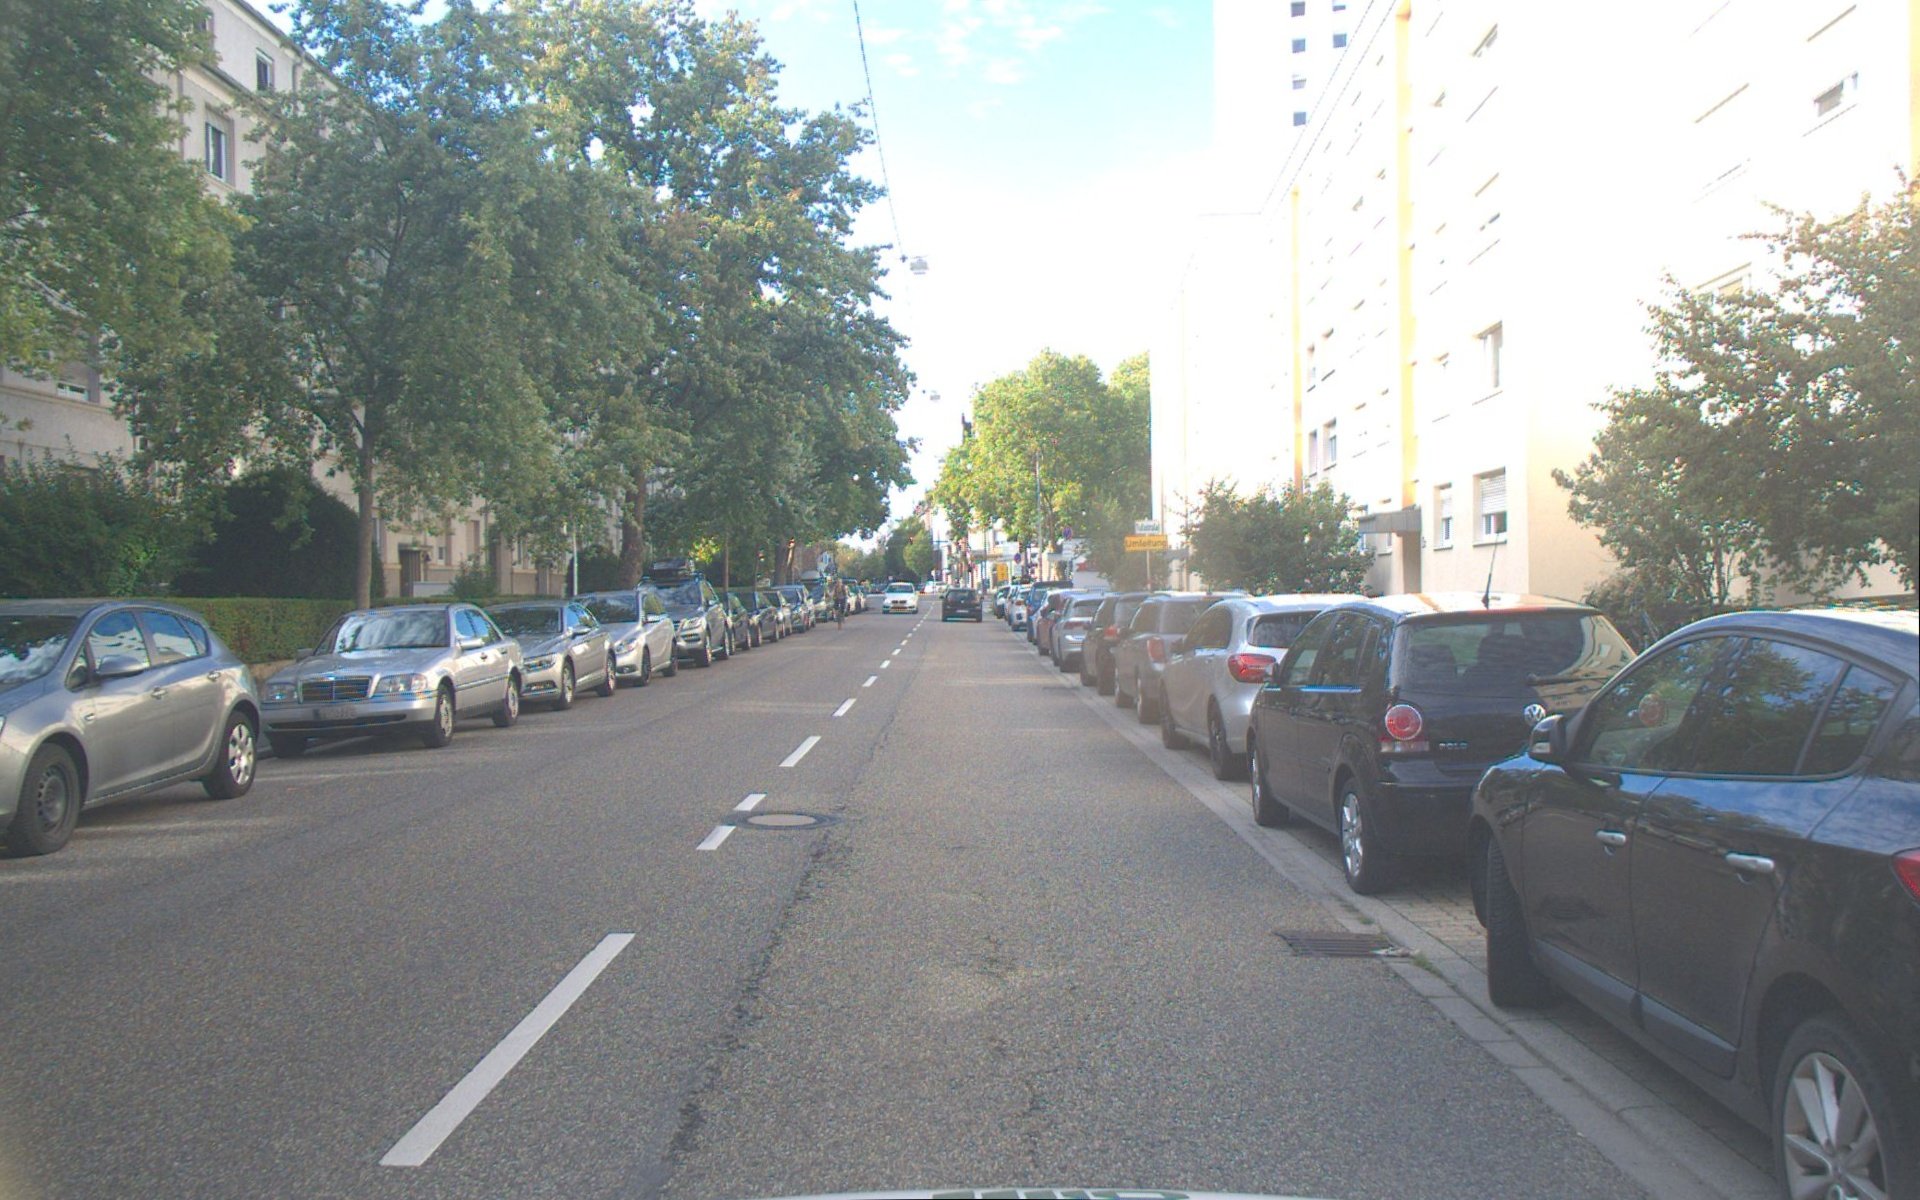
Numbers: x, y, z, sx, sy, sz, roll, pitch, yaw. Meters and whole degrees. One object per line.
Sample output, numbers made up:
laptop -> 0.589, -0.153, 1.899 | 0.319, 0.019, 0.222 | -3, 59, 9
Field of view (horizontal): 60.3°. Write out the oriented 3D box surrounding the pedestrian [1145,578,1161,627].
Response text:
pedestrian -> 6.921, 0.096, 59.228 | 0.530, 1.751, 0.772 | 0, 0, 5

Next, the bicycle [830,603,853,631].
bicycle -> -4.022, 0.575, 56.188 | 0.629, 0.940, 1.858 | 0, 0, 0

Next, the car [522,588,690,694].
car -> -5.948, 0.631, 28.328 | 1.817, 1.600, 4.460 | -2, 0, 1

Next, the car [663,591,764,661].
car -> -5.976, 0.588, 40.500 | 1.650, 1.506, 4.120 | -4, 0, 2

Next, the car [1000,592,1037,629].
car -> 2.563, 0.444, 73.197 | 1.519, 1.584, 3.468 | 0, 0, 0

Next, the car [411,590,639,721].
car -> -5.926, 0.676, 23.176 | 1.818, 1.512, 4.944 | -4, 0, 0

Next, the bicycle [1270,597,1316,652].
bicycle -> 8.353, 0.583, 41.586 | 0.591, 1.313, 2.635 | -2, 0, 0

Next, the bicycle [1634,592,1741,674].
bicycle -> 9.951, 0.435, 22.709 | 0.491, 1.048, 2.069 | -3, 0, 0

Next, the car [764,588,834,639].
car -> -5.301, 0.427, 54.891 | 1.581, 1.493, 4.015 | -4, 0, 4

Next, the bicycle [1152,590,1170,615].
bicycle -> 9.589, 0.109, 79.014 | 0.585, 1.134, 2.209 | -2, 0, 0

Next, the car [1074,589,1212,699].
car -> 2.759, 0.624, 25.677 | 1.628, 1.517, 3.941 | -2, 0, 0

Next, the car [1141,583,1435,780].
car -> 2.789, 0.621, 14.969 | 1.666, 1.489, 4.178 | -2, 0, -2

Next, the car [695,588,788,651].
car -> -5.880, 0.494, 44.944 | 1.650, 1.506, 4.453 | -4, 0, 3

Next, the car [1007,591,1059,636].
car -> 2.535, 0.451, 58.336 | 1.693, 1.514, 4.642 | 0, 0, 1

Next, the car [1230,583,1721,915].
car -> 2.753, 0.690, 9.755 | 1.649, 1.527, 3.873 | -1, 0, 0

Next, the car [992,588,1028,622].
car -> 2.411, 0.208, 78.846 | 1.654, 1.555, 4.239 | 0, 0, 2

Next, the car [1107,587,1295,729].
car -> 2.848, 0.625, 20.386 | 1.649, 1.511, 4.293 | -1, 0, 0

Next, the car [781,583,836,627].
car -> -6.274, 0.172, 68.973 | 1.762, 1.697, 4.483 | -3, 1, 1

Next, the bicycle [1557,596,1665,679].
bicycle -> 8.858, 0.486, 22.600 | 0.581, 1.048, 2.119 | -3, 0, 0

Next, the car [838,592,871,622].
car -> -6.242, 0.396, 98.086 | 1.763, 1.648, 3.802 | -3, 0, -2

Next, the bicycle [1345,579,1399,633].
bicycle -> 10.358, 0.152, 41.646 | 0.711, 1.313, 2.635 | 0, 0, 0

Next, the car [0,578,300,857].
car -> -6.165, 0.647, 10.904 | 1.818, 1.512, 4.682 | -2, 0, -2

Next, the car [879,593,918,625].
car -> -3.144, 0.458, 85.725 | 1.821, 1.555, 4.011 | 0, 1, 1

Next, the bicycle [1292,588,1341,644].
bicycle -> 8.942, 0.382, 41.570 | 0.583, 1.313, 2.635 | -3, 0, 0

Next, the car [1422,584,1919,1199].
car -> 2.661, 0.706, 4.666 | 1.648, 1.460, 4.207 | -1, 0, 2

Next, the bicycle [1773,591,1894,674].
bicycle -> 11.882, 0.425, 22.578 | 0.491, 1.048, 2.135 | -4, 0, 1

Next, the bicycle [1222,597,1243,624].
bicycle -> 9.839, 0.371, 59.741 | 0.449, 0.943, 1.516 | -2, 0, -1

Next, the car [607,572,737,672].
car -> -5.851, 0.399, 34.184 | 1.839, 1.824, 4.969 | -3, 0, -1

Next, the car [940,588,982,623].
car -> 0.075, 0.209, 71.103 | 1.715, 1.438, 4.001 | 0, 0, 1

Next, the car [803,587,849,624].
car -> -5.979, 0.243, 74.099 | 1.665, 1.512, 3.848 | -3, 1, 1

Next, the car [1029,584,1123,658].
car -> 2.573, 0.452, 37.571 | 1.694, 1.542, 4.190 | -2, 0, -2

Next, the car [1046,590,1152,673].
car -> 2.626, 0.569, 32.026 | 1.628, 1.440, 4.058 | -2, 0, 0

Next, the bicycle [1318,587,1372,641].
bicycle -> 9.652, 0.339, 41.577 | 0.711, 1.313, 2.635 | -1, 0, 0

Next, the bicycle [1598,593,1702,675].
bicycle -> 9.439, 0.446, 22.709 | 0.491, 1.048, 2.095 | -3, 0, 0

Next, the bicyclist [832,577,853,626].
bicyclist -> -4.001, 0.048, 56.245 | 0.628, 1.629, 0.990 | 0, 0, 0

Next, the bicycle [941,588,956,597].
bicycle -> -1.523, -0.983, 217.298 | 1.988, 1.101, 0.618 | -1, 0, -14

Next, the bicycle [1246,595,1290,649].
bicycle -> 7.728, 0.529, 41.561 | 0.591, 1.313, 2.635 | -1, 0, 0

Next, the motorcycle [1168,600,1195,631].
motorcycle -> 7.994, 0.551, 59.747 | 0.617, 1.063, 2.393 | 0, 0, -1

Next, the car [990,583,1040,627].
car -> 2.098, 0.190, 64.317 | 1.693, 1.608, 4.116 | -2, 0, -1

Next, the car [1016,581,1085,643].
car -> 2.593, 0.334, 48.172 | 1.693, 1.678, 4.116 | -2, 0, -1

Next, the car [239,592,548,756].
car -> -5.855, 0.676, 17.727 | 1.703, 1.417, 4.665 | -3, 0, -1

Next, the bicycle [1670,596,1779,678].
bicycle -> 10.456, 0.478, 22.694 | 0.491, 1.048, 2.026 | -3, 0, 0

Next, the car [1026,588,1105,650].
car -> 2.715, 0.465, 43.311 | 1.693, 1.486, 4.116 | -2, 0, -1
